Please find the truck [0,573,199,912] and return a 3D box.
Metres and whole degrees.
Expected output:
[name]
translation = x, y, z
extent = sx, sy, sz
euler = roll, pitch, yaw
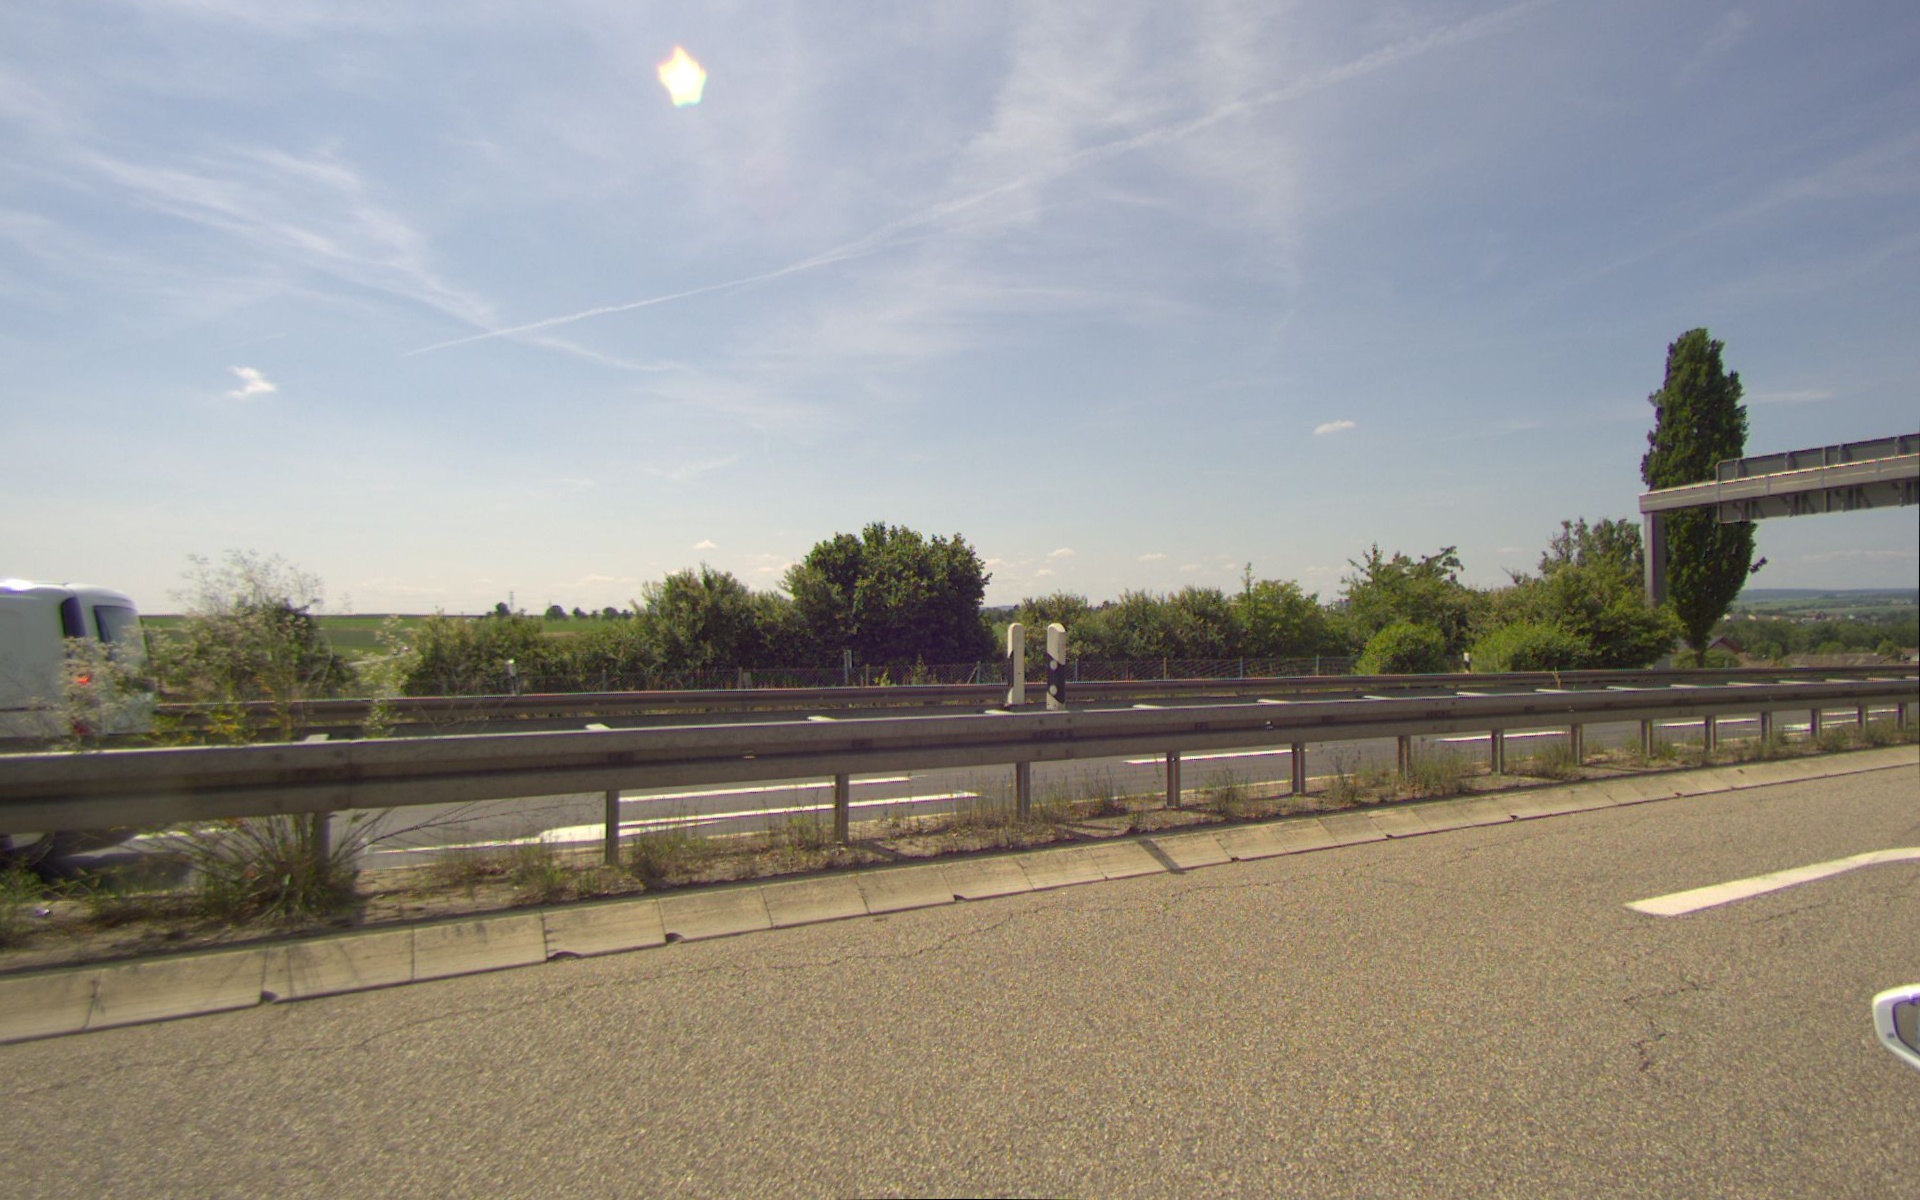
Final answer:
[truck]
translation = -6.979, 0.737, 5.242
extent = 4.482, 1.771, 1.842
euler = 2, -4, -29
